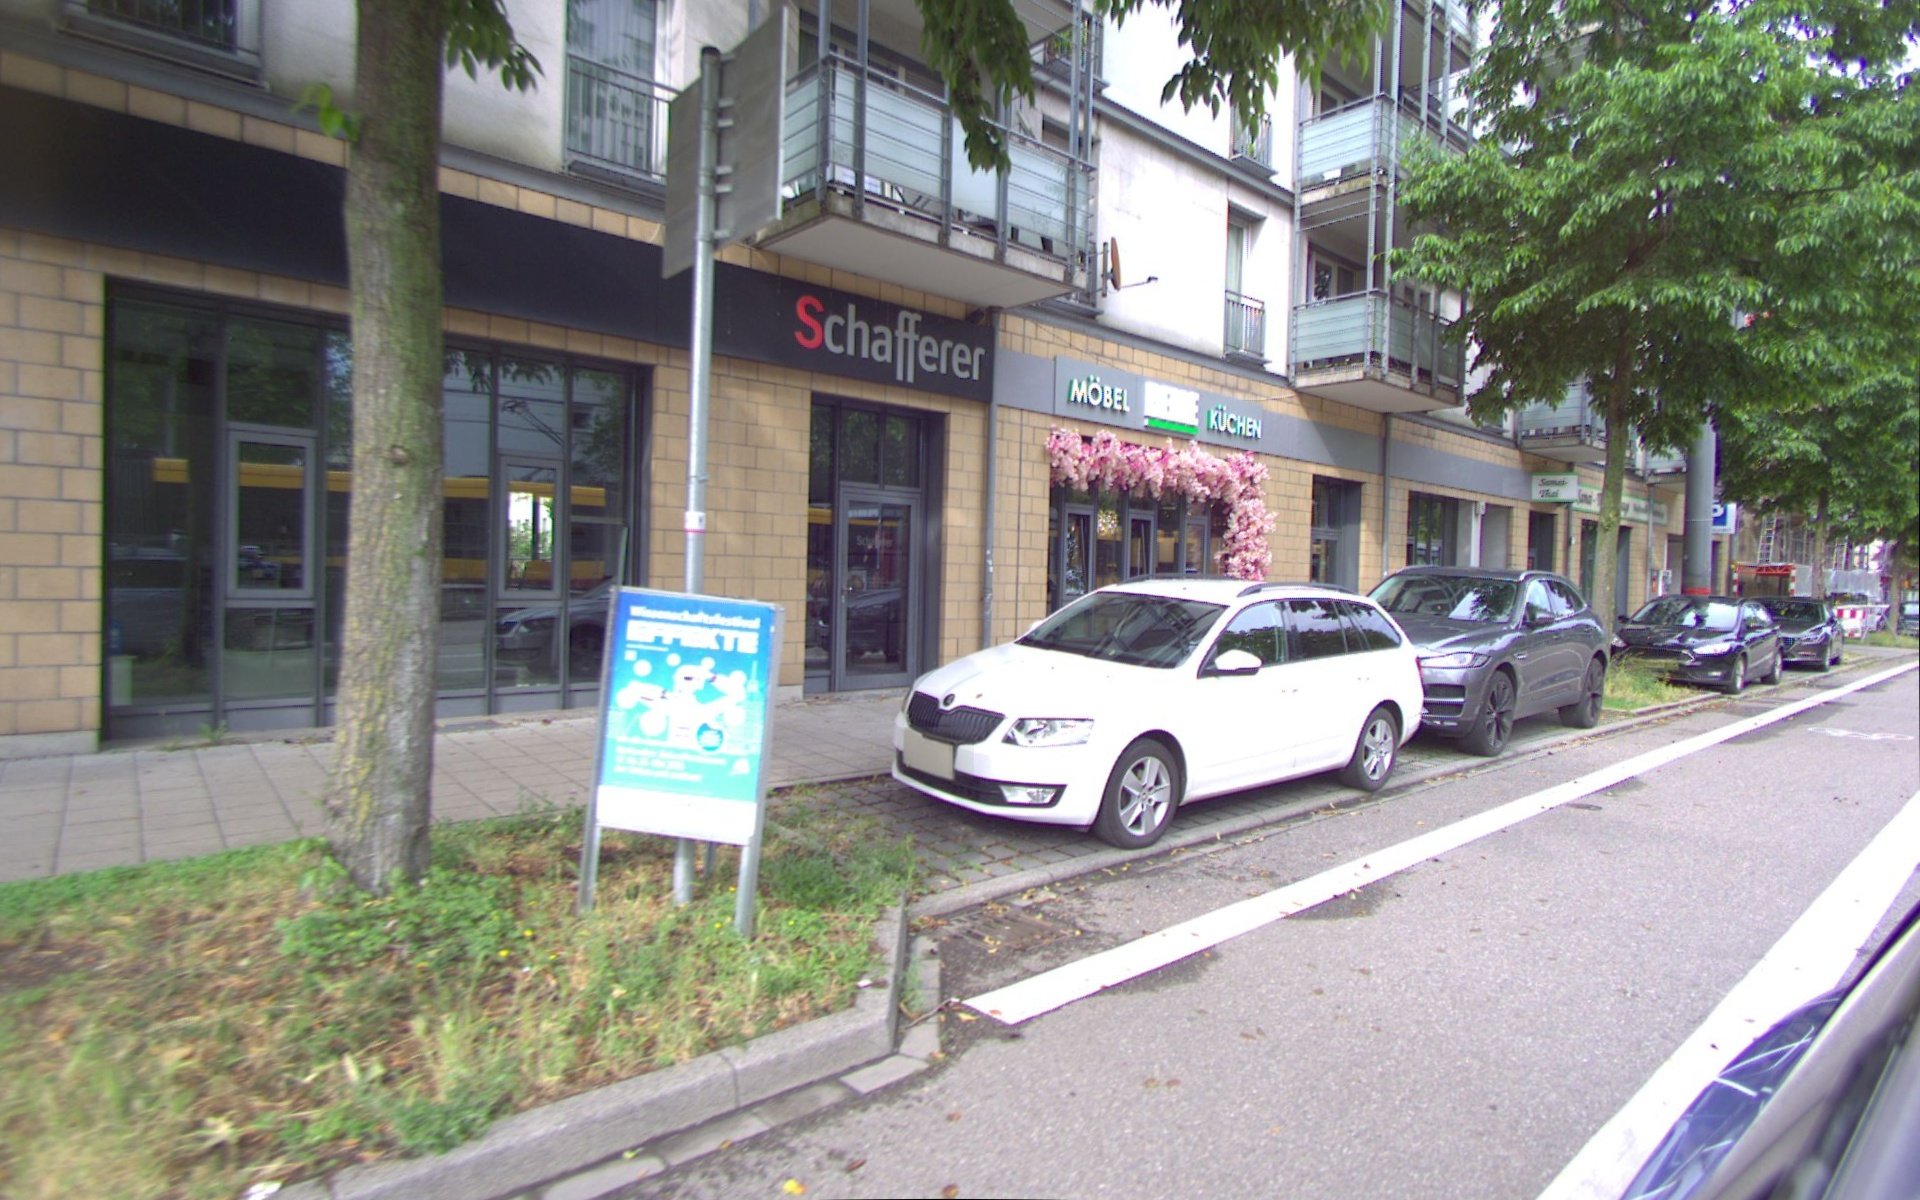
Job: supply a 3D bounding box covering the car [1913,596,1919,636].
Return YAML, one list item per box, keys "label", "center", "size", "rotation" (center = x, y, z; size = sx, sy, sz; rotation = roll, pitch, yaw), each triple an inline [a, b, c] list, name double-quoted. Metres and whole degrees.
- label: "car"
  center: [38.241, 0.648, 38.997]
  size: [4.206, 1.478, 1.754]
  rotation: [0, 4, -41]

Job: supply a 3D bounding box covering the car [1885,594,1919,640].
- label: "car"
  center: [33.683, 0.583, 35.187]
  size: [4.206, 1.478, 1.754]
  rotation: [0, 4, -41]

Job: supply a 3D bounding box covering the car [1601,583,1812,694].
- label: "car"
  center: [12.124, 0.528, 16.333]
  size: [4.329, 1.459, 1.681]
  rotation: [0, 4, -40]

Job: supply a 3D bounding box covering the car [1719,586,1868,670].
- label: "car"
  center: [17.674, 0.503, 21.382]
  size: [4.315, 1.472, 1.801]
  rotation: [-1, 5, -43]

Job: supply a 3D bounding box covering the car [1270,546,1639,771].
- label: "car"
  center: [5.193, 0.424, 10.297]
  size: [4.631, 1.737, 1.715]
  rotation: [0, 5, -42]

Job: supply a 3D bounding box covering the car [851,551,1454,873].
- label: "car"
  center: [1.535, 0.517, 6.990]
  size: [4.311, 1.516, 1.681]
  rotation: [0, 4, -40]
